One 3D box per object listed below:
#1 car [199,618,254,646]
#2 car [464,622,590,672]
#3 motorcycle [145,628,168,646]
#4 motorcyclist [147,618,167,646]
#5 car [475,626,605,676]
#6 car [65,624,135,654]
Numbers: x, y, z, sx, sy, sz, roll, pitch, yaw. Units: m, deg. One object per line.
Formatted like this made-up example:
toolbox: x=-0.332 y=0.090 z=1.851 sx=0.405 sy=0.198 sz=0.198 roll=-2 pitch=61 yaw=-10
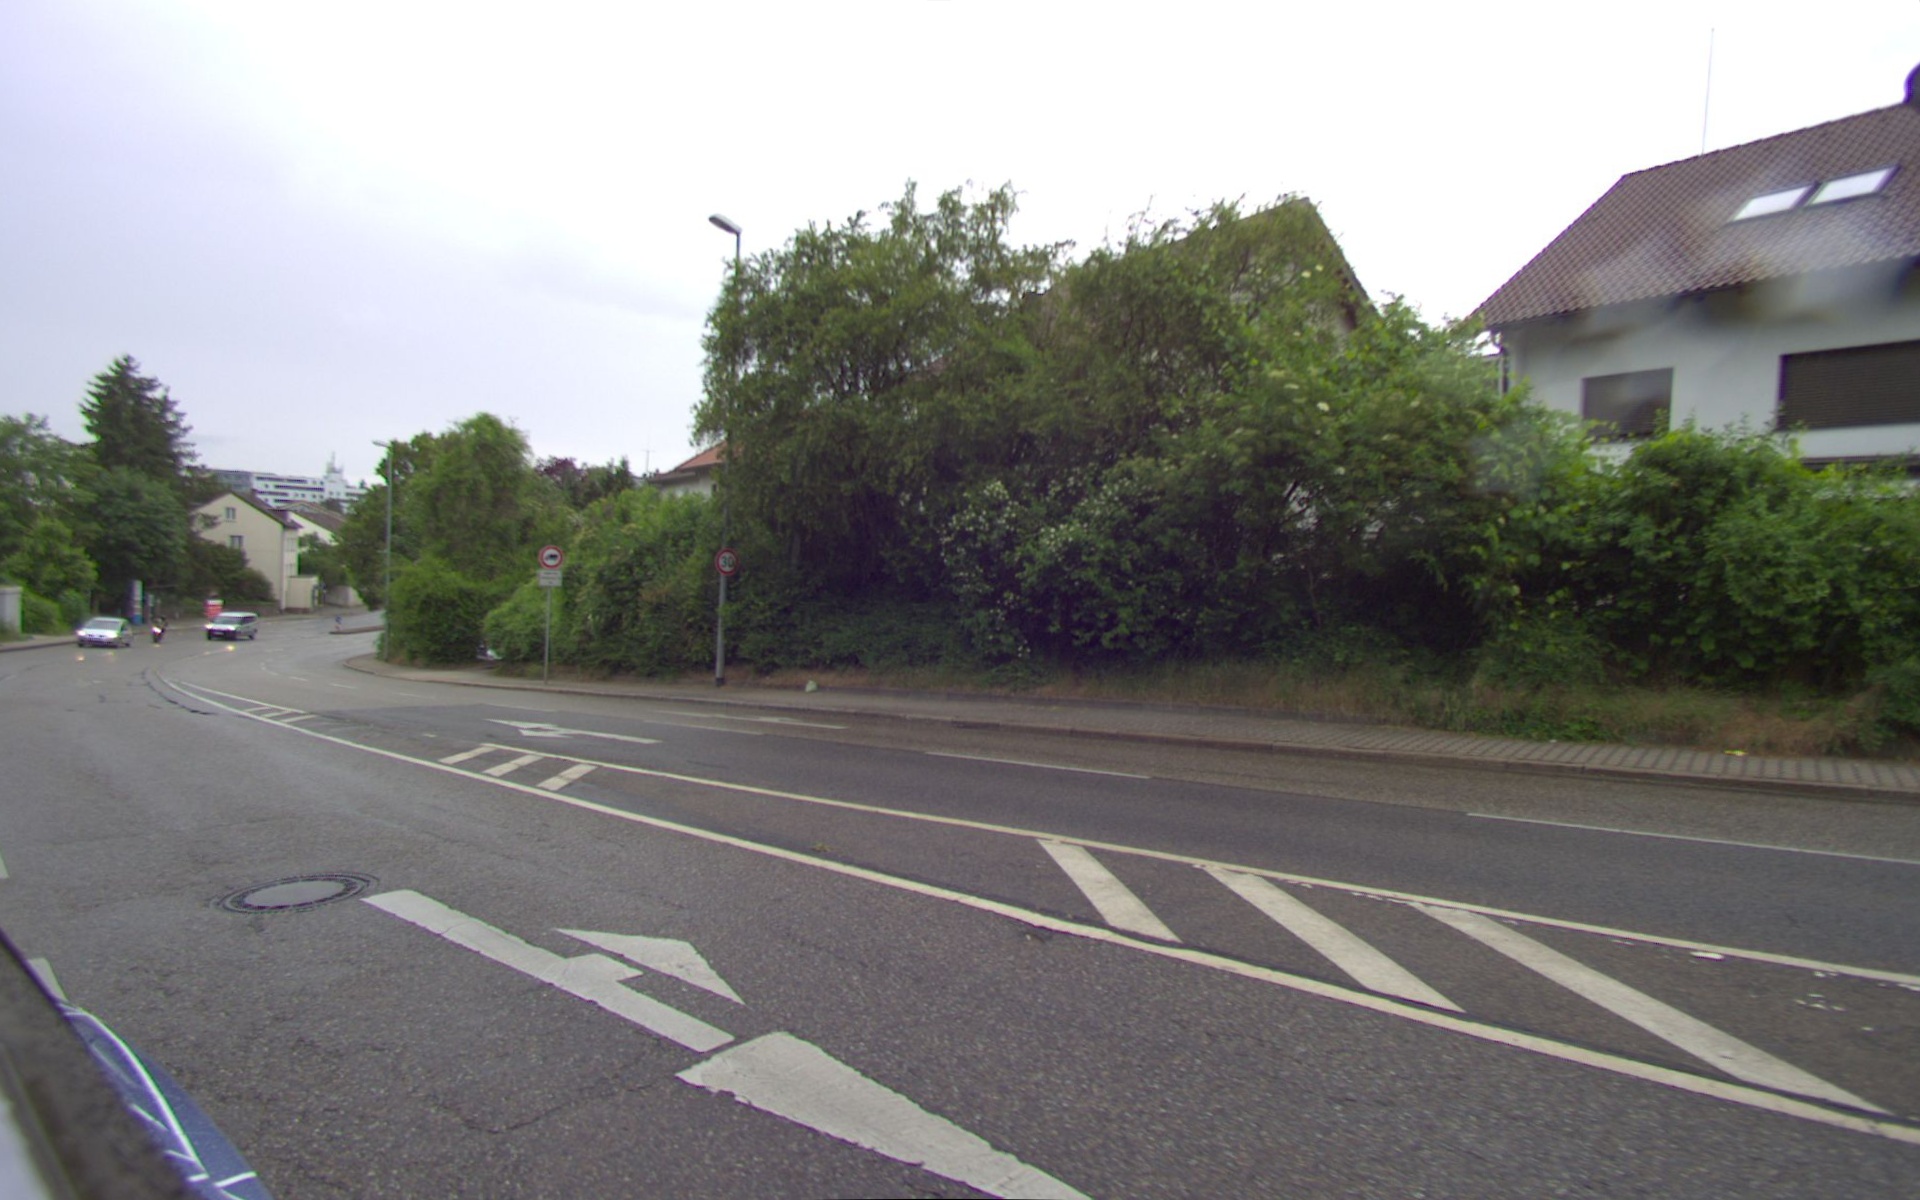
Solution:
car: x=-50.305 y=2.232 z=69.497 sx=1.748 sy=1.788 sz=4.012 roll=4 pitch=-3 yaw=-17
car: x=-16.462 y=1.741 z=38.593 sx=3.939 sy=1.548 sz=2.003 roll=-4 pitch=1 yaw=-42
motorcycle: x=-48.718 y=2.228 z=61.344 sx=0.681 sy=1.061 sz=1.753 roll=4 pitch=-2 yaw=-27
motorcyclist: x=-48.773 y=1.949 z=61.475 sx=0.754 sy=1.655 sz=0.676 roll=3 pitch=-3 yaw=-26
car: x=-14.972 y=1.782 z=36.151 sx=3.853 sy=1.451 sz=1.814 roll=-4 pitch=1 yaw=-41
car: x=-45.541 y=2.087 z=53.687 sx=1.787 sy=1.450 sz=4.013 roll=4 pitch=-4 yaw=-26
